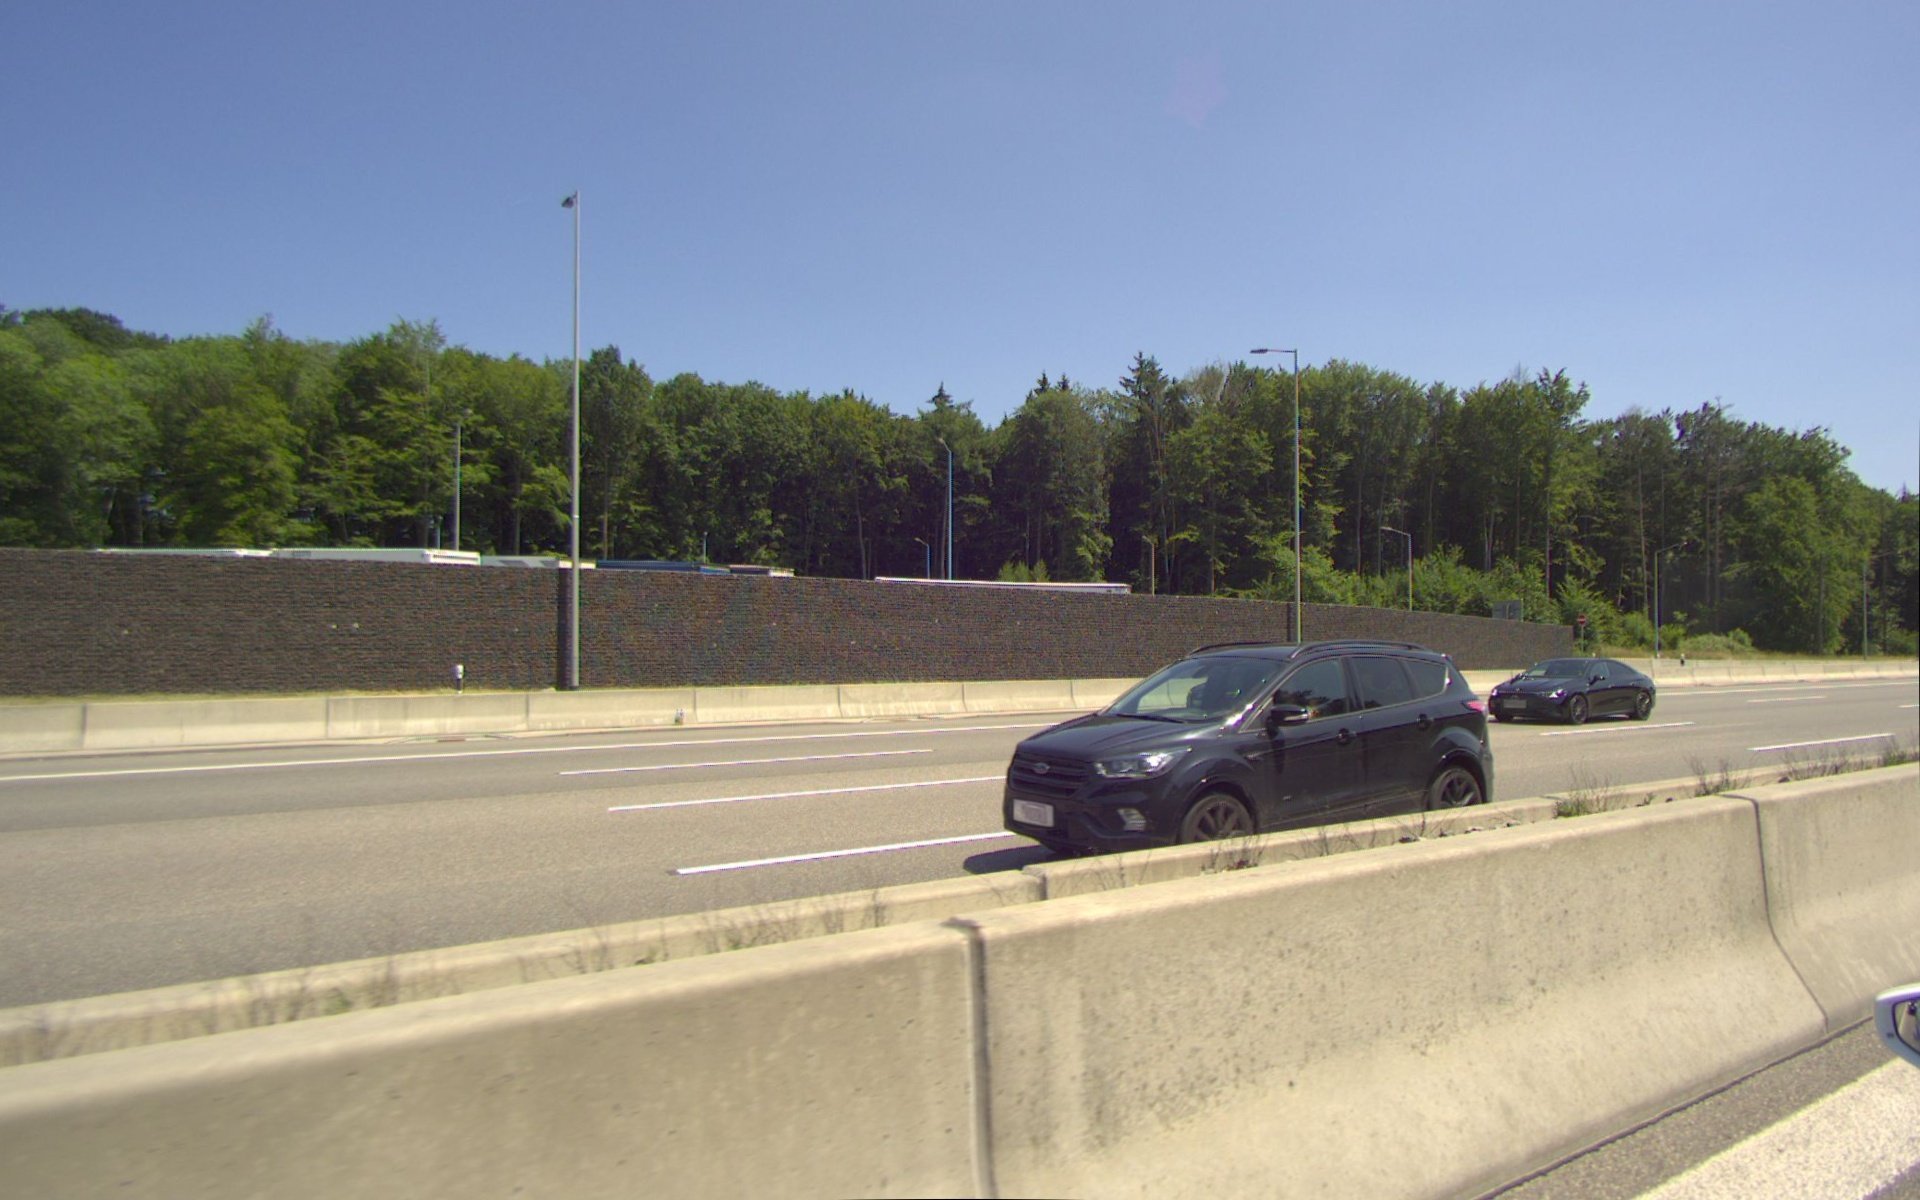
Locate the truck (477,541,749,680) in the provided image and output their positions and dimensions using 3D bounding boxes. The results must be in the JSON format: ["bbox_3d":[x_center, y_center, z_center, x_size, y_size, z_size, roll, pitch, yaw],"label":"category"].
[{"bbox_3d":[-15.160,0.505,43.974,11.305,5.686,3.230,0,-2,15],"label":"truck"}]

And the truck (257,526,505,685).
[{"bbox_3d":[-22.178,0.258,38.591,8.317,5.686,3.230,0,-2,15],"label":"truck"}]

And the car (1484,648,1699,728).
[{"bbox_3d":[14.687,1.940,23.244,5.691,1.642,1.983,2,-2,-32],"label":"car"}]

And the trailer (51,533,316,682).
[{"bbox_3d":[-31.768,0.340,41.137,9.739,5.686,3.230,0,-2,15],"label":"trailer"}]

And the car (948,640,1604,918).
[{"bbox_3d":[2.841,1.197,8.447,5.688,1.684,1.984,2,-3,-31],"label":"car"}]

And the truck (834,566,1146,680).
[{"bbox_3d":[1.560,1.246,53.885,16.374,5.686,3.453,0,-2,15],"label":"truck"}]

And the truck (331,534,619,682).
[{"bbox_3d":[-20.051,0.387,41.574,11.305,5.686,3.230,0,-2,15],"label":"truck"}]

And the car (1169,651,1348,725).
[{"bbox_3d":[7.356,2.081,24.665,4.167,1.642,1.983,2,-2,-32],"label":"car"}]

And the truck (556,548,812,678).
[{"bbox_3d":[-12.848,0.637,46.848,11.305,5.686,3.370,0,-2,15],"label":"truck"}]
